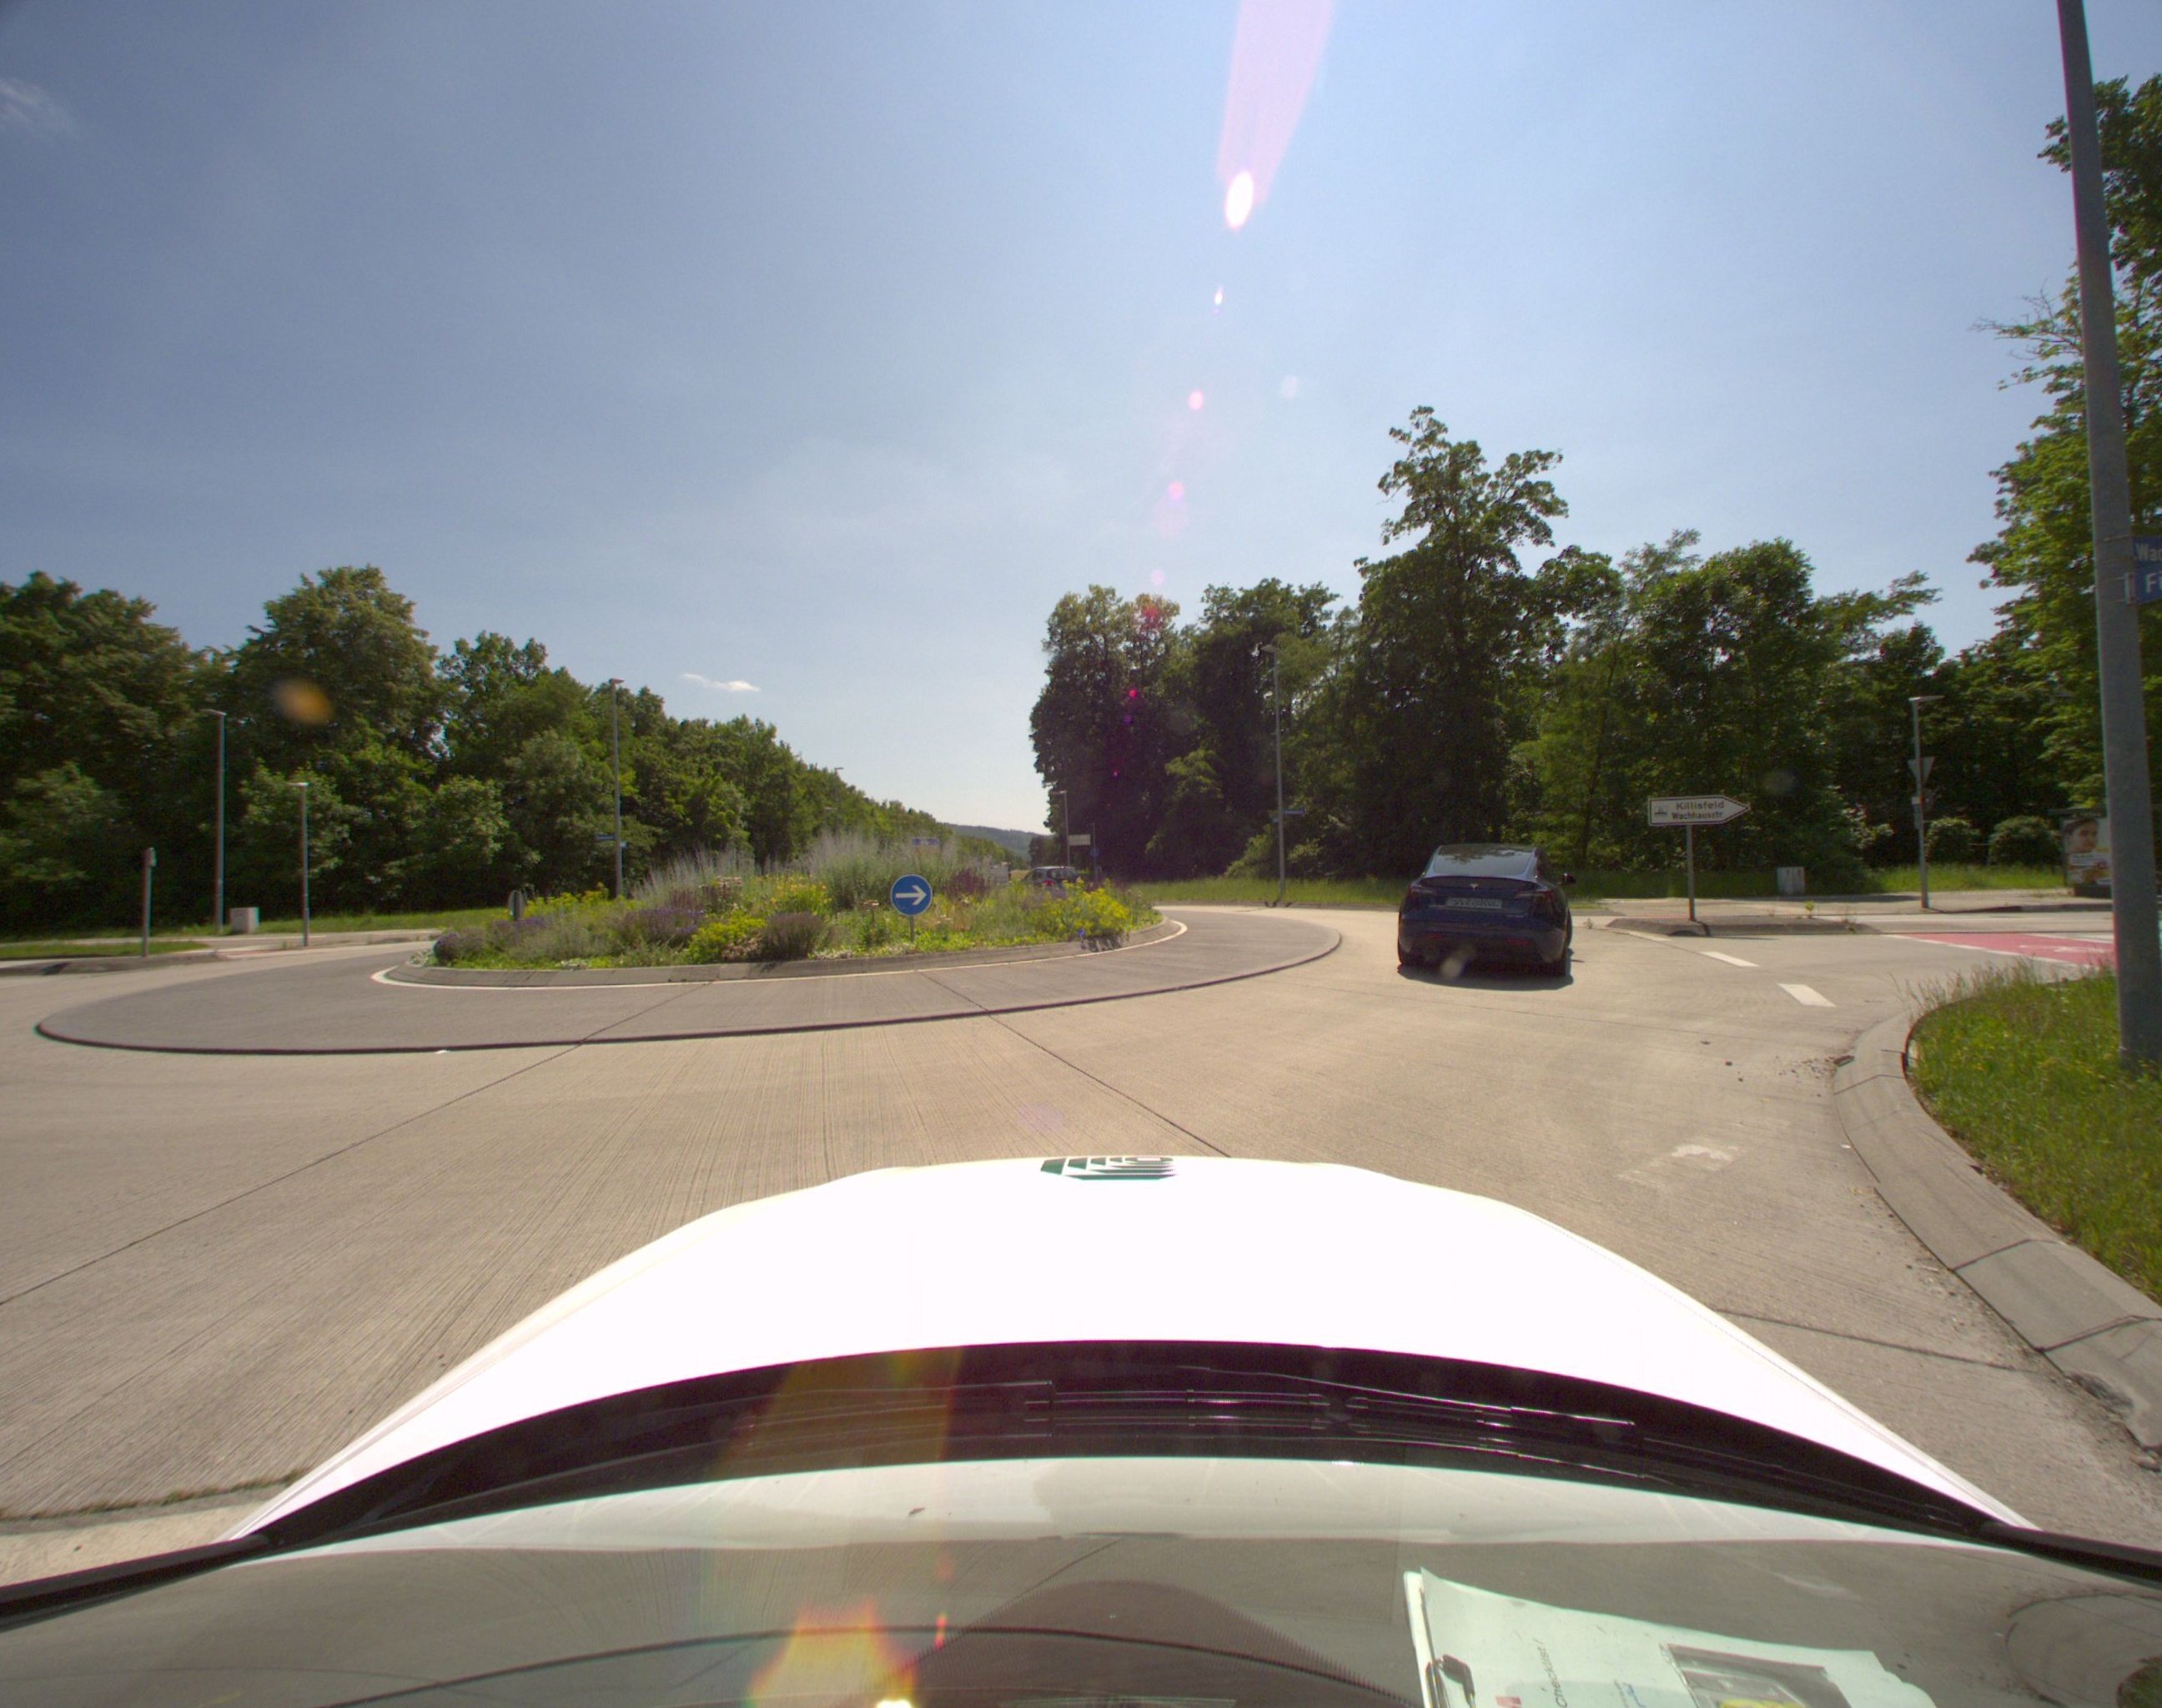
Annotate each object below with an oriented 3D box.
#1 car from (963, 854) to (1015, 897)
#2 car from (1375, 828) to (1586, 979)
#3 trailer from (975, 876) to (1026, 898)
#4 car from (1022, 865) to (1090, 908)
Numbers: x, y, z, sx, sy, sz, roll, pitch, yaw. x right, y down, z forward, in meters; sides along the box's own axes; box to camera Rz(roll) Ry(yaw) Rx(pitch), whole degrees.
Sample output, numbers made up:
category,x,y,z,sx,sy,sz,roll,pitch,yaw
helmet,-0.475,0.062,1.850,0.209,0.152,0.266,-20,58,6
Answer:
category,x,y,z,sx,sy,sz,roll,pitch,yaw
car,-5.380,1.248,47.130,2.171,2.316,4.953,0,-1,-16
car,5.756,0.563,11.369,1.974,1.640,4.787,-2,-1,34
trailer,-4.294,1.733,43.191,2.126,1.097,3.336,0,-1,-16
car,-1.077,1.277,32.901,1.788,1.607,4.104,0,-1,-16
